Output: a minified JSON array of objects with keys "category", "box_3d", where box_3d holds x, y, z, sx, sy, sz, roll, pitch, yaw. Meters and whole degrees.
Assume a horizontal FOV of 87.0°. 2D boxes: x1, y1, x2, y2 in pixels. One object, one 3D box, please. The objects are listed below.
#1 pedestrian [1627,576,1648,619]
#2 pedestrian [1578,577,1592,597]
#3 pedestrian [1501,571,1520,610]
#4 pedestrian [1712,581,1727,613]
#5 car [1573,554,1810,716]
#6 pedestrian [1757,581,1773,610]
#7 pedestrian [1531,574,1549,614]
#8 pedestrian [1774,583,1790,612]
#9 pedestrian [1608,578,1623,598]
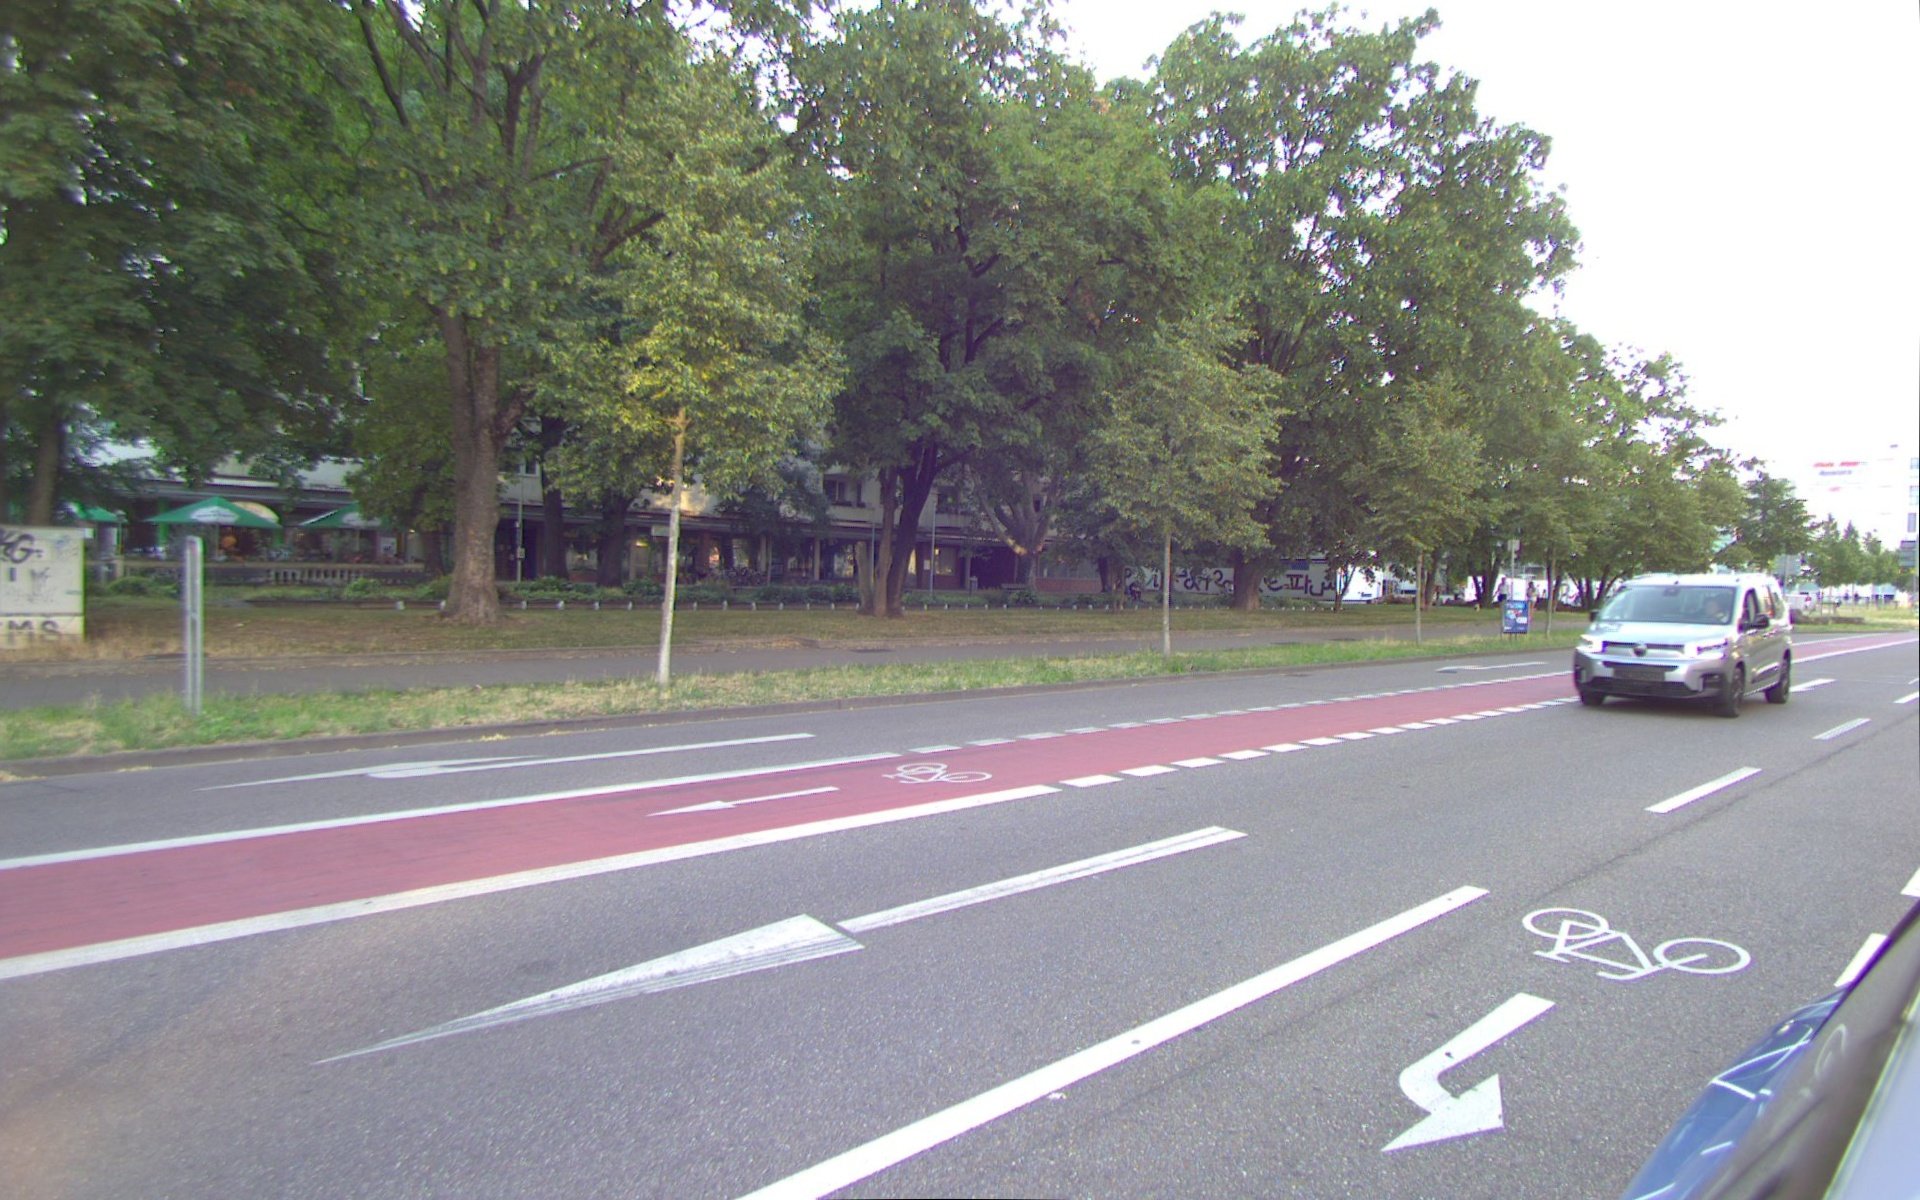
[{"category":"pedestrian","box_3d":[28.483,-0.111,42.561,0.546,1.760,0.558,0,2,-41]},{"category":"pedestrian","box_3d":[44.670,-0.909,72.289,0.669,1.371,0.631,0,2,-41]},{"category":"pedestrian","box_3d":[22.760,-0.399,41.866,0.513,1.621,0.500,0,2,-41]},{"category":"pedestrian","box_3d":[41.784,-0.182,55.676,0.707,1.751,0.508,0,2,-41]},{"category":"car","box_3d":[10.287,0.389,14.101,4.422,1.912,1.766,0,1,-42]},{"category":"pedestrian","box_3d":[50.755,-0.273,63.804,0.497,1.779,0.638,0,2,-40]},{"category":"pedestrian","box_3d":[23.834,-0.253,41.567,0.359,1.621,0.500,1,2,-40]},{"category":"pedestrian","box_3d":[51.287,-0.181,63.105,0.497,1.779,0.638,0,2,-40]},{"category":"pedestrian","box_3d":[45.837,-0.871,70.764,0.550,1.371,0.662,0,2,-40]}]
